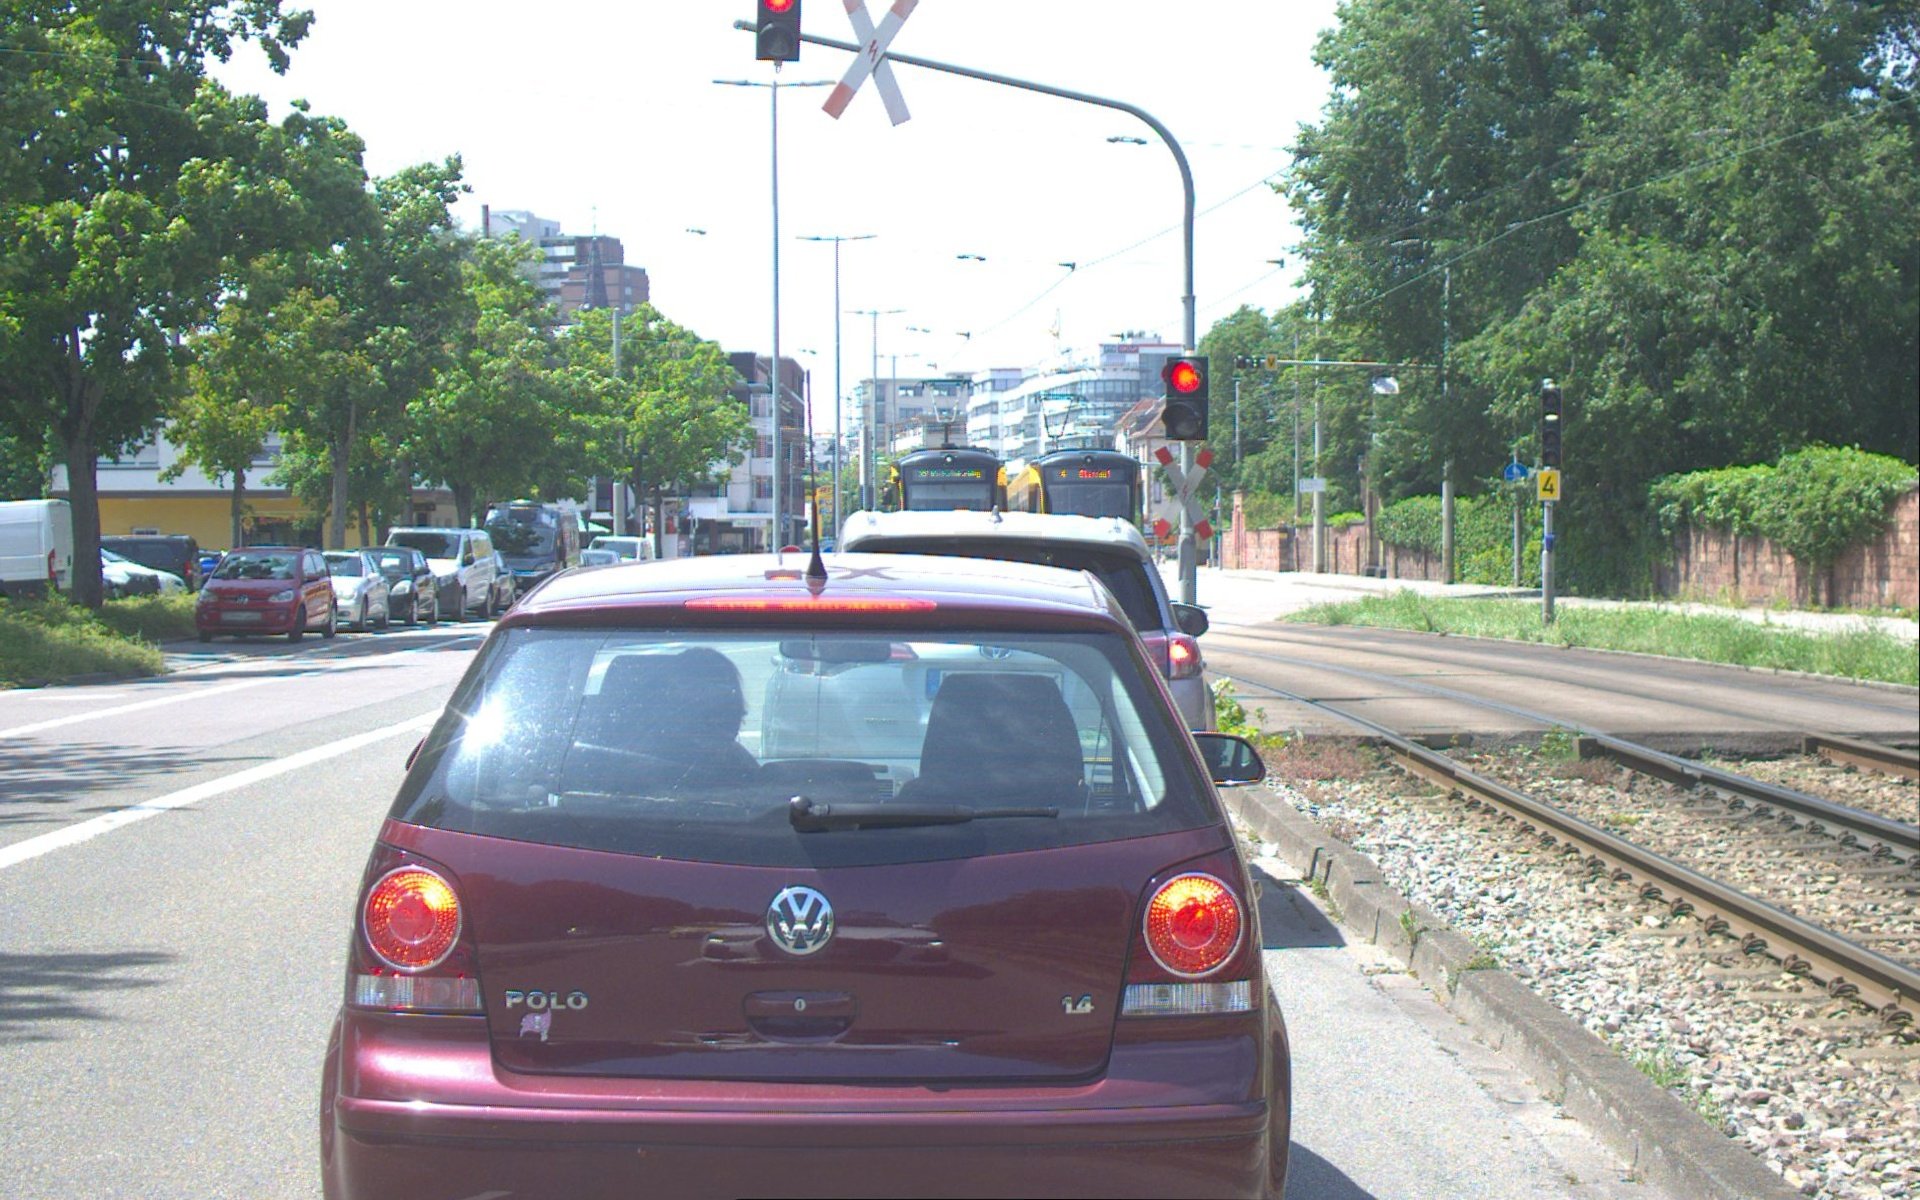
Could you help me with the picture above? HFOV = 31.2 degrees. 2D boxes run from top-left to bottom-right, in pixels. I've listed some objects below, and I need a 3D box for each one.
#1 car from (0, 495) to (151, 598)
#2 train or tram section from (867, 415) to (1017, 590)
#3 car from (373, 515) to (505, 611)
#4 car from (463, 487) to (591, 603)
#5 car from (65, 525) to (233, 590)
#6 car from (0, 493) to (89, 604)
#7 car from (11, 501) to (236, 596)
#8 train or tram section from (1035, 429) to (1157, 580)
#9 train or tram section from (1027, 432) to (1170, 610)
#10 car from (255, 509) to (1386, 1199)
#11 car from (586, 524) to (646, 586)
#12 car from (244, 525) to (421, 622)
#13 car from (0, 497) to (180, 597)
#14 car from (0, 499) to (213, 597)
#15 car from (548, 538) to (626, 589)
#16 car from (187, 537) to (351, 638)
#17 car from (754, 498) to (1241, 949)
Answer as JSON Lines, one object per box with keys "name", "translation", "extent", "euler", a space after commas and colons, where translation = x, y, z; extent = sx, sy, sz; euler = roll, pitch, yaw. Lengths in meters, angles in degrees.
{"name": "car", "translation": [-21.528, -1.259, 79.250], "extent": [5.097, 2.237, 2.378], "euler": [2, 0, 1]}
{"name": "train or tram section", "translation": [-0.548, -2.211, 78.757], "extent": [2.740, 3.597, 12.872], "euler": [2, 1, -3]}
{"name": "car", "translation": [-10.768, -0.755, 71.360], "extent": [1.783, 1.875, 4.785], "euler": [2, 0, 2]}
{"name": "car", "translation": [-10.575, -1.319, 84.398], "extent": [2.361, 2.683, 5.307], "euler": [2, 0, 0]}
{"name": "car", "translation": [-21.663, -1.128, 91.915], "extent": [4.020, 1.611, 1.816], "euler": [2, 0, 1]}
{"name": "car", "translation": [-20.924, -1.116, 71.191], "extent": [5.097, 2.237, 2.378], "euler": [2, 0, 1]}
{"name": "car", "translation": [-21.285, -1.307, 87.629], "extent": [5.097, 2.237, 2.378], "euler": [2, 0, 1]}
{"name": "train or tram section", "translation": [3.660, -2.548, 93.085], "extent": [3.028, 3.785, 13.089], "euler": [0, 1, 2]}
{"name": "train or tram section", "translation": [3.183, -1.840, 80.137], "extent": [3.028, 3.785, 13.089], "euler": [0, 1, 2]}
{"name": "car", "translation": [-0.258, 0.599, 7.158], "extent": [1.672, 1.516, 4.000], "euler": [1, 1, -1]}
{"name": "car", "translation": [-10.781, -1.403, 107.684], "extent": [1.774, 1.822, 4.001], "euler": [2, 0, -6]}
{"name": "car", "translation": [-11.098, -0.462, 61.124], "extent": [1.976, 1.595, 4.557], "euler": [2, 0, 4]}
{"name": "car", "translation": [-21.572, -1.282, 82.438], "extent": [5.097, 2.237, 2.378], "euler": [2, 0, 1]}
{"name": "car", "translation": [-21.287, -1.289, 84.910], "extent": [5.097, 2.237, 2.378], "euler": [2, 0, 1]}
{"name": "car", "translation": [-10.995, -1.058, 101.546], "extent": [1.614, 1.436, 4.000], "euler": [2, 0, 3]}
{"name": "car", "translation": [-10.923, -0.208, 54.576], "extent": [1.663, 1.491, 4.000], "euler": [2, 0, 1]}
{"name": "car", "translation": [0.093, 0.418, 14.815], "extent": [1.777, 1.641, 4.000], "euler": [1, 1, -1]}
